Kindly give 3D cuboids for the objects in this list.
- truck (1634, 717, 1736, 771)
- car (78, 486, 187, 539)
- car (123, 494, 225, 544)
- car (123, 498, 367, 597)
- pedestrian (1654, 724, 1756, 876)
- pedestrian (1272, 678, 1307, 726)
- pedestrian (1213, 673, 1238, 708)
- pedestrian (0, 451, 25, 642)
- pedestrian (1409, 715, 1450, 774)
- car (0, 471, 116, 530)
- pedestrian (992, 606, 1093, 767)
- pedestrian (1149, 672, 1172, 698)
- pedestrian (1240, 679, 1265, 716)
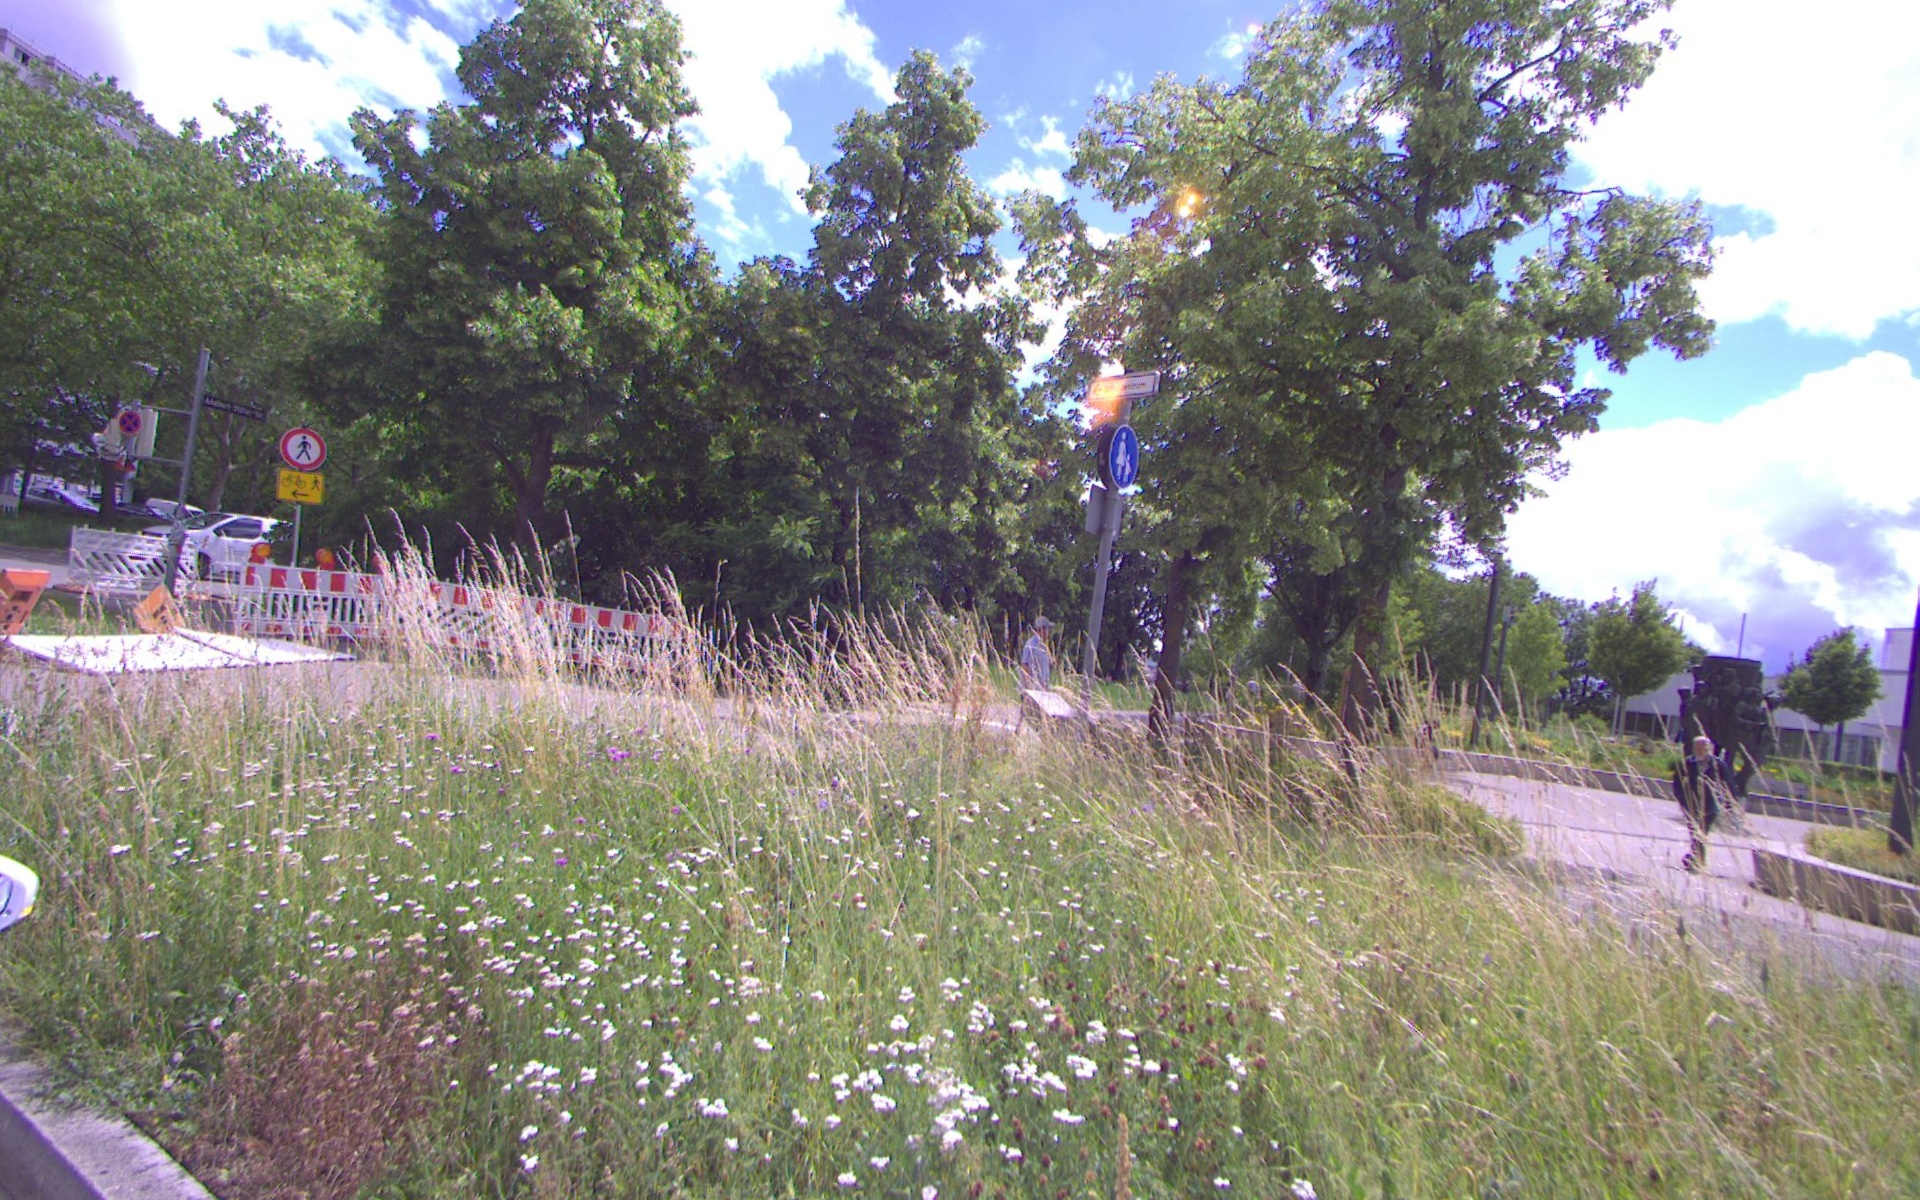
[{"bbox_3d":[37.324,7.393,51.926,1.965,2.037,3.999,8,-1,-4],"label":"truck"},{"bbox_3d":[-43.782,-4.604,53.283,3.926,2.037,2.001,8,-1,0],"label":"car"},{"bbox_3d":[-44.237,-4.532,56.686,3.926,2.037,2.001,8,-1,0],"label":"car"},{"bbox_3d":[-19.709,-1.386,28.050,1.915,1.895,5.090,7,-2,28],"label":"car"},{"bbox_3d":[9.082,2.406,12.257,0.762,1.644,0.761,7,-1,43],"label":"pedestrian"},{"bbox_3d":[15.002,4.641,45.837,1.137,2.037,0.817,8,0,30],"label":"pedestrian"},{"bbox_3d":[13.665,4.661,51.723,0.872,1.681,0.817,8,-1,30],"label":"pedestrian"},{"bbox_3d":[-7.991,-0.343,7.889,0.779,1.763,0.818,8,-1,-42],"label":"pedestrian"},{"bbox_3d":[10.804,3.312,23.137,0.623,1.236,0.618,7,-1,36],"label":"pedestrian"},{"bbox_3d":[-43.688,-4.780,48.567,3.926,2.037,2.001,8,-1,0],"label":"car"},{"bbox_3d":[1.034,1.069,12.507,0.752,1.862,0.771,7,-1,33],"label":"pedestrian"},{"bbox_3d":[13.287,5.634,66.757,1.135,1.571,0.818,8,-1,-2],"label":"pedestrian"},{"bbox_3d":[14.935,4.978,51.339,0.879,1.732,0.817,8,-1,30],"label":"pedestrian"}]
